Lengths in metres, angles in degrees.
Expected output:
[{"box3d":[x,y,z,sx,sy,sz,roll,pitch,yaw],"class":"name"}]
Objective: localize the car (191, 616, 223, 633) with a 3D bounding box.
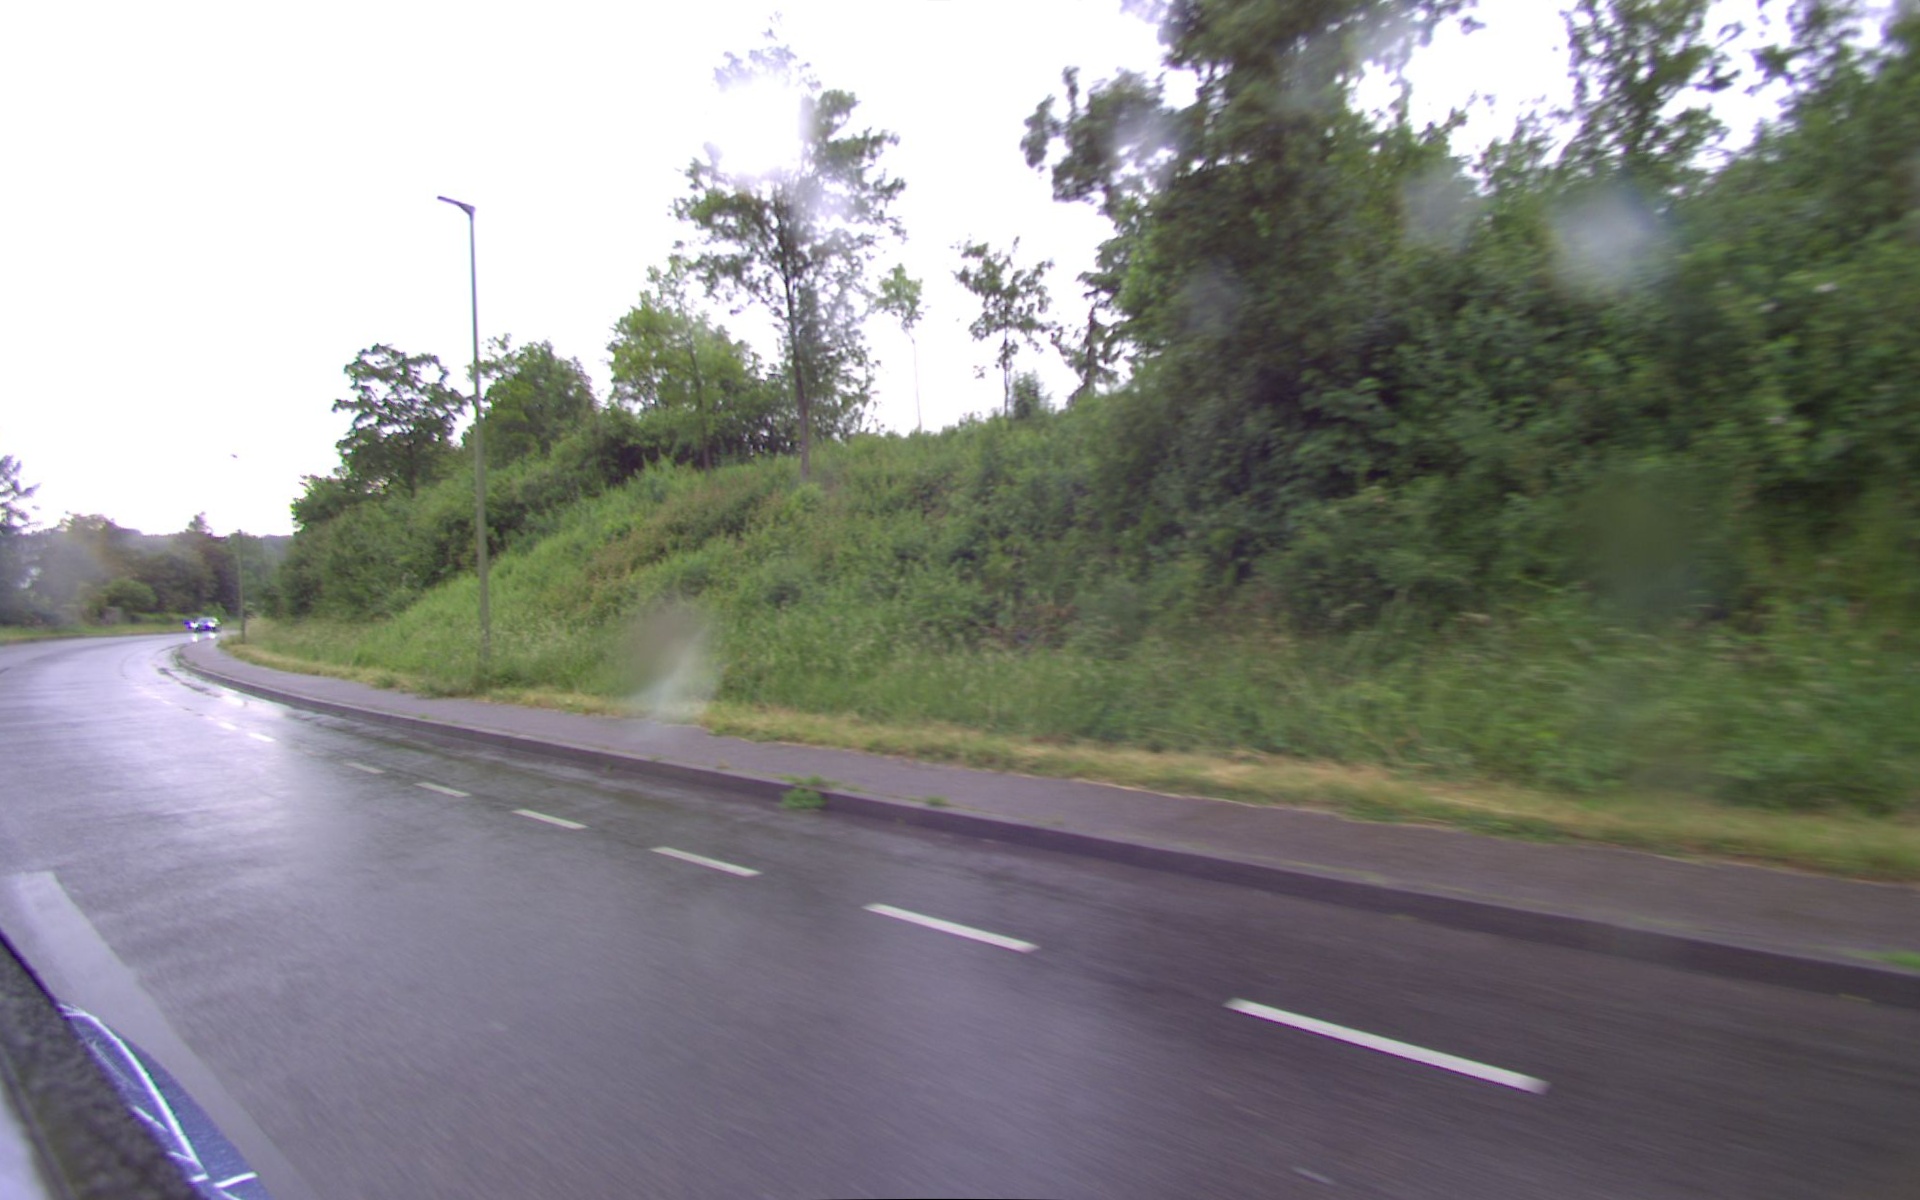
[{"box3d":[-73.322,2.381,98.587,1.848,1.618,4.013,1,-1,-28],"class":"car"}]
